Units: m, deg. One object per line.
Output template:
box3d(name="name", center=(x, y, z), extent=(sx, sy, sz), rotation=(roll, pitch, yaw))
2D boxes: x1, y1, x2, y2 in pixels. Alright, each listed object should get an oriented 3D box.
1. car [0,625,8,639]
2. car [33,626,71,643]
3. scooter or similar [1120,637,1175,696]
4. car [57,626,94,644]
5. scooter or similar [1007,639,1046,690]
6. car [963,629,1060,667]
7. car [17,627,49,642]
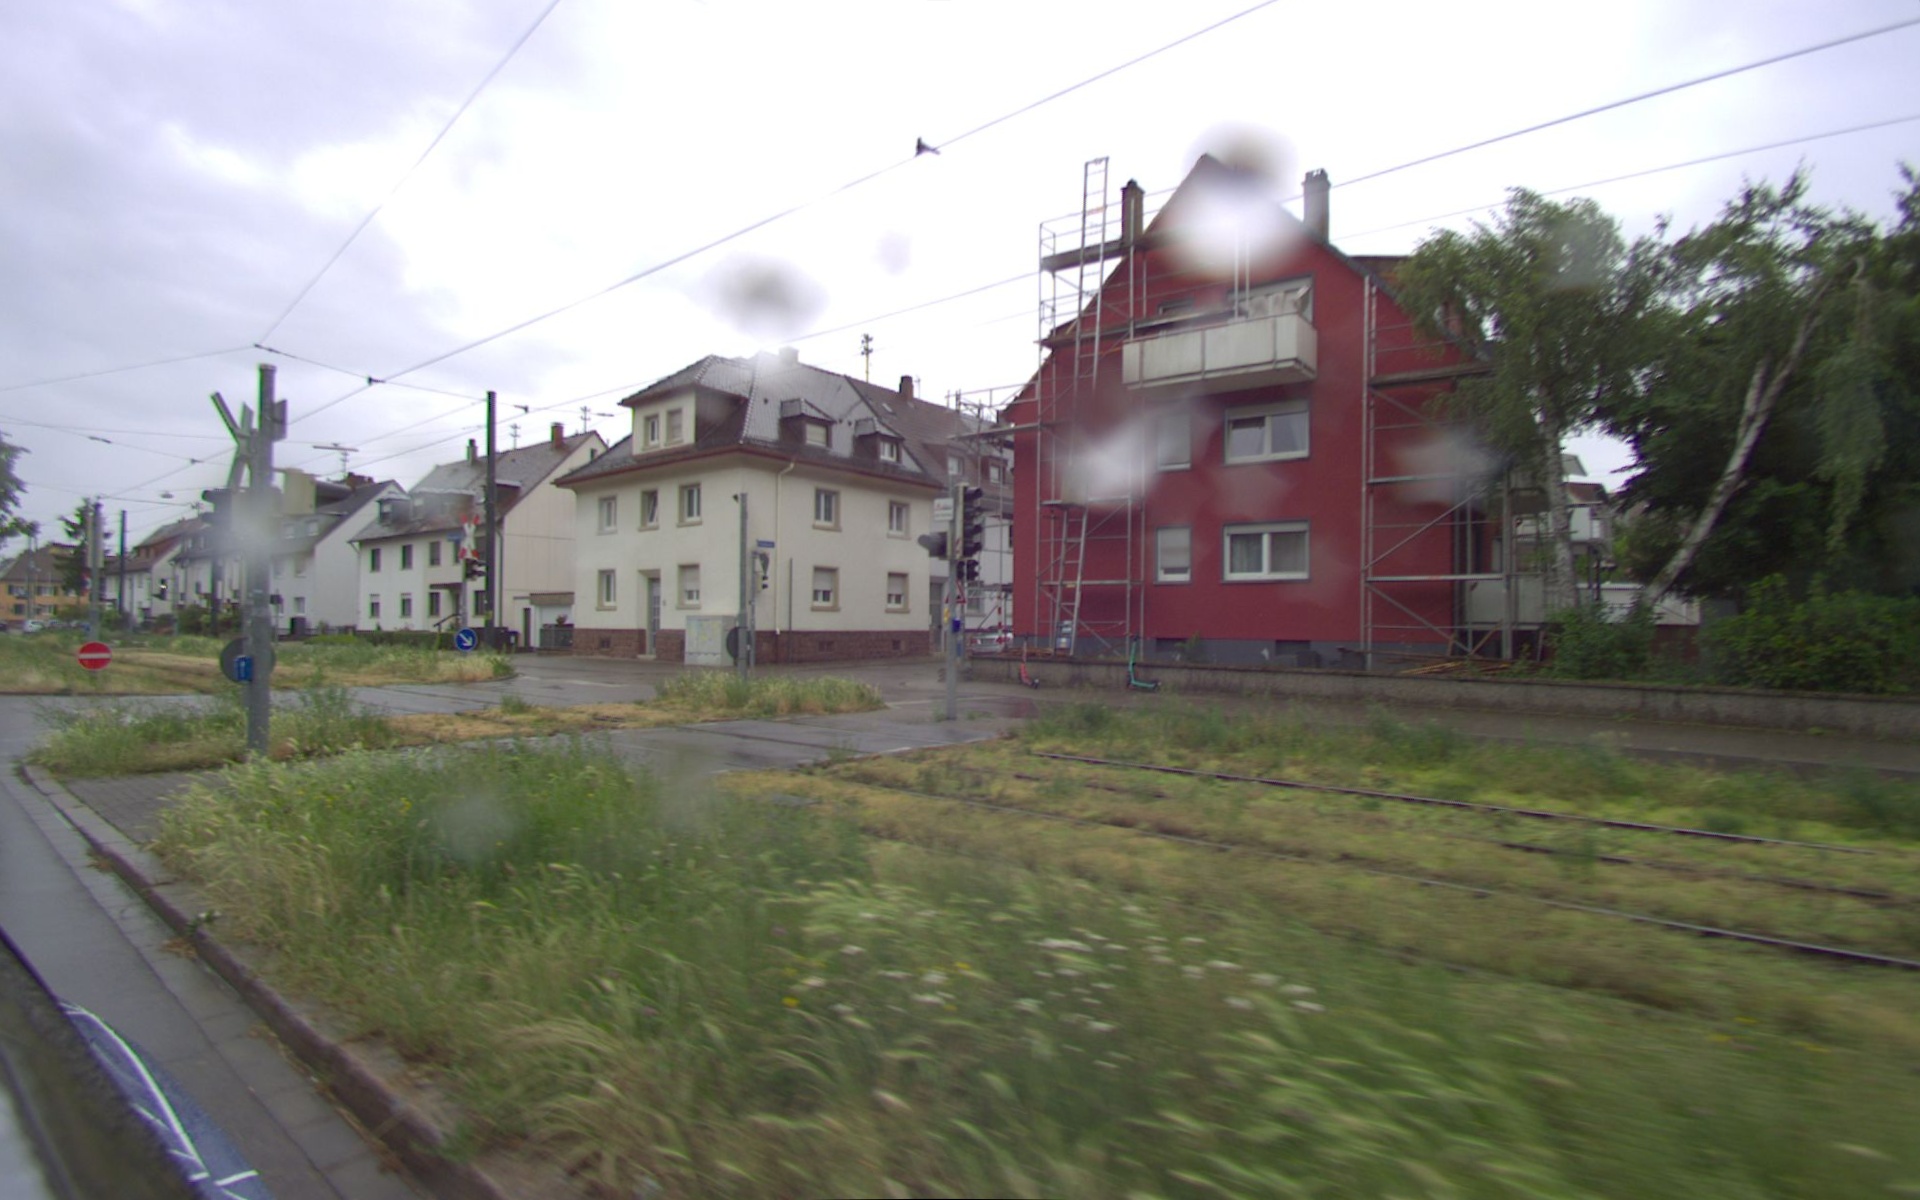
box3d(name="car", center=(-113.423, 3.695, 118.836), extent=(3.997, 1.602, 1.888), rotation=(-1, -3, 40))
box3d(name="car", center=(-83.937, 3.178, 93.516), extent=(4.752, 1.543, 1.868), rotation=(-1, -3, 39))
box3d(name="scooter or similar", center=(3.946, 1.379, 21.366), extent=(0.388, 1.189, 1.286), rotation=(1, -2, -32))
box3d(name="car", center=(-74.461, 2.927, 85.168), extent=(3.935, 1.437, 1.754), rotation=(-1, -3, 41))
box3d(name="scooter or similar", center=(1.523, 1.469, 23.307), extent=(0.434, 1.138, 1.287), rotation=(1, -2, -18))
box3d(name="car", center=(2.085, 1.856, 39.806), extent=(1.838, 1.412, 4.313), rotation=(-1, -2, 35))
box3d(name="car", center=(-92.376, 3.430, 100.838), extent=(3.996, 1.451, 1.693), rotation=(-1, -3, 39))
